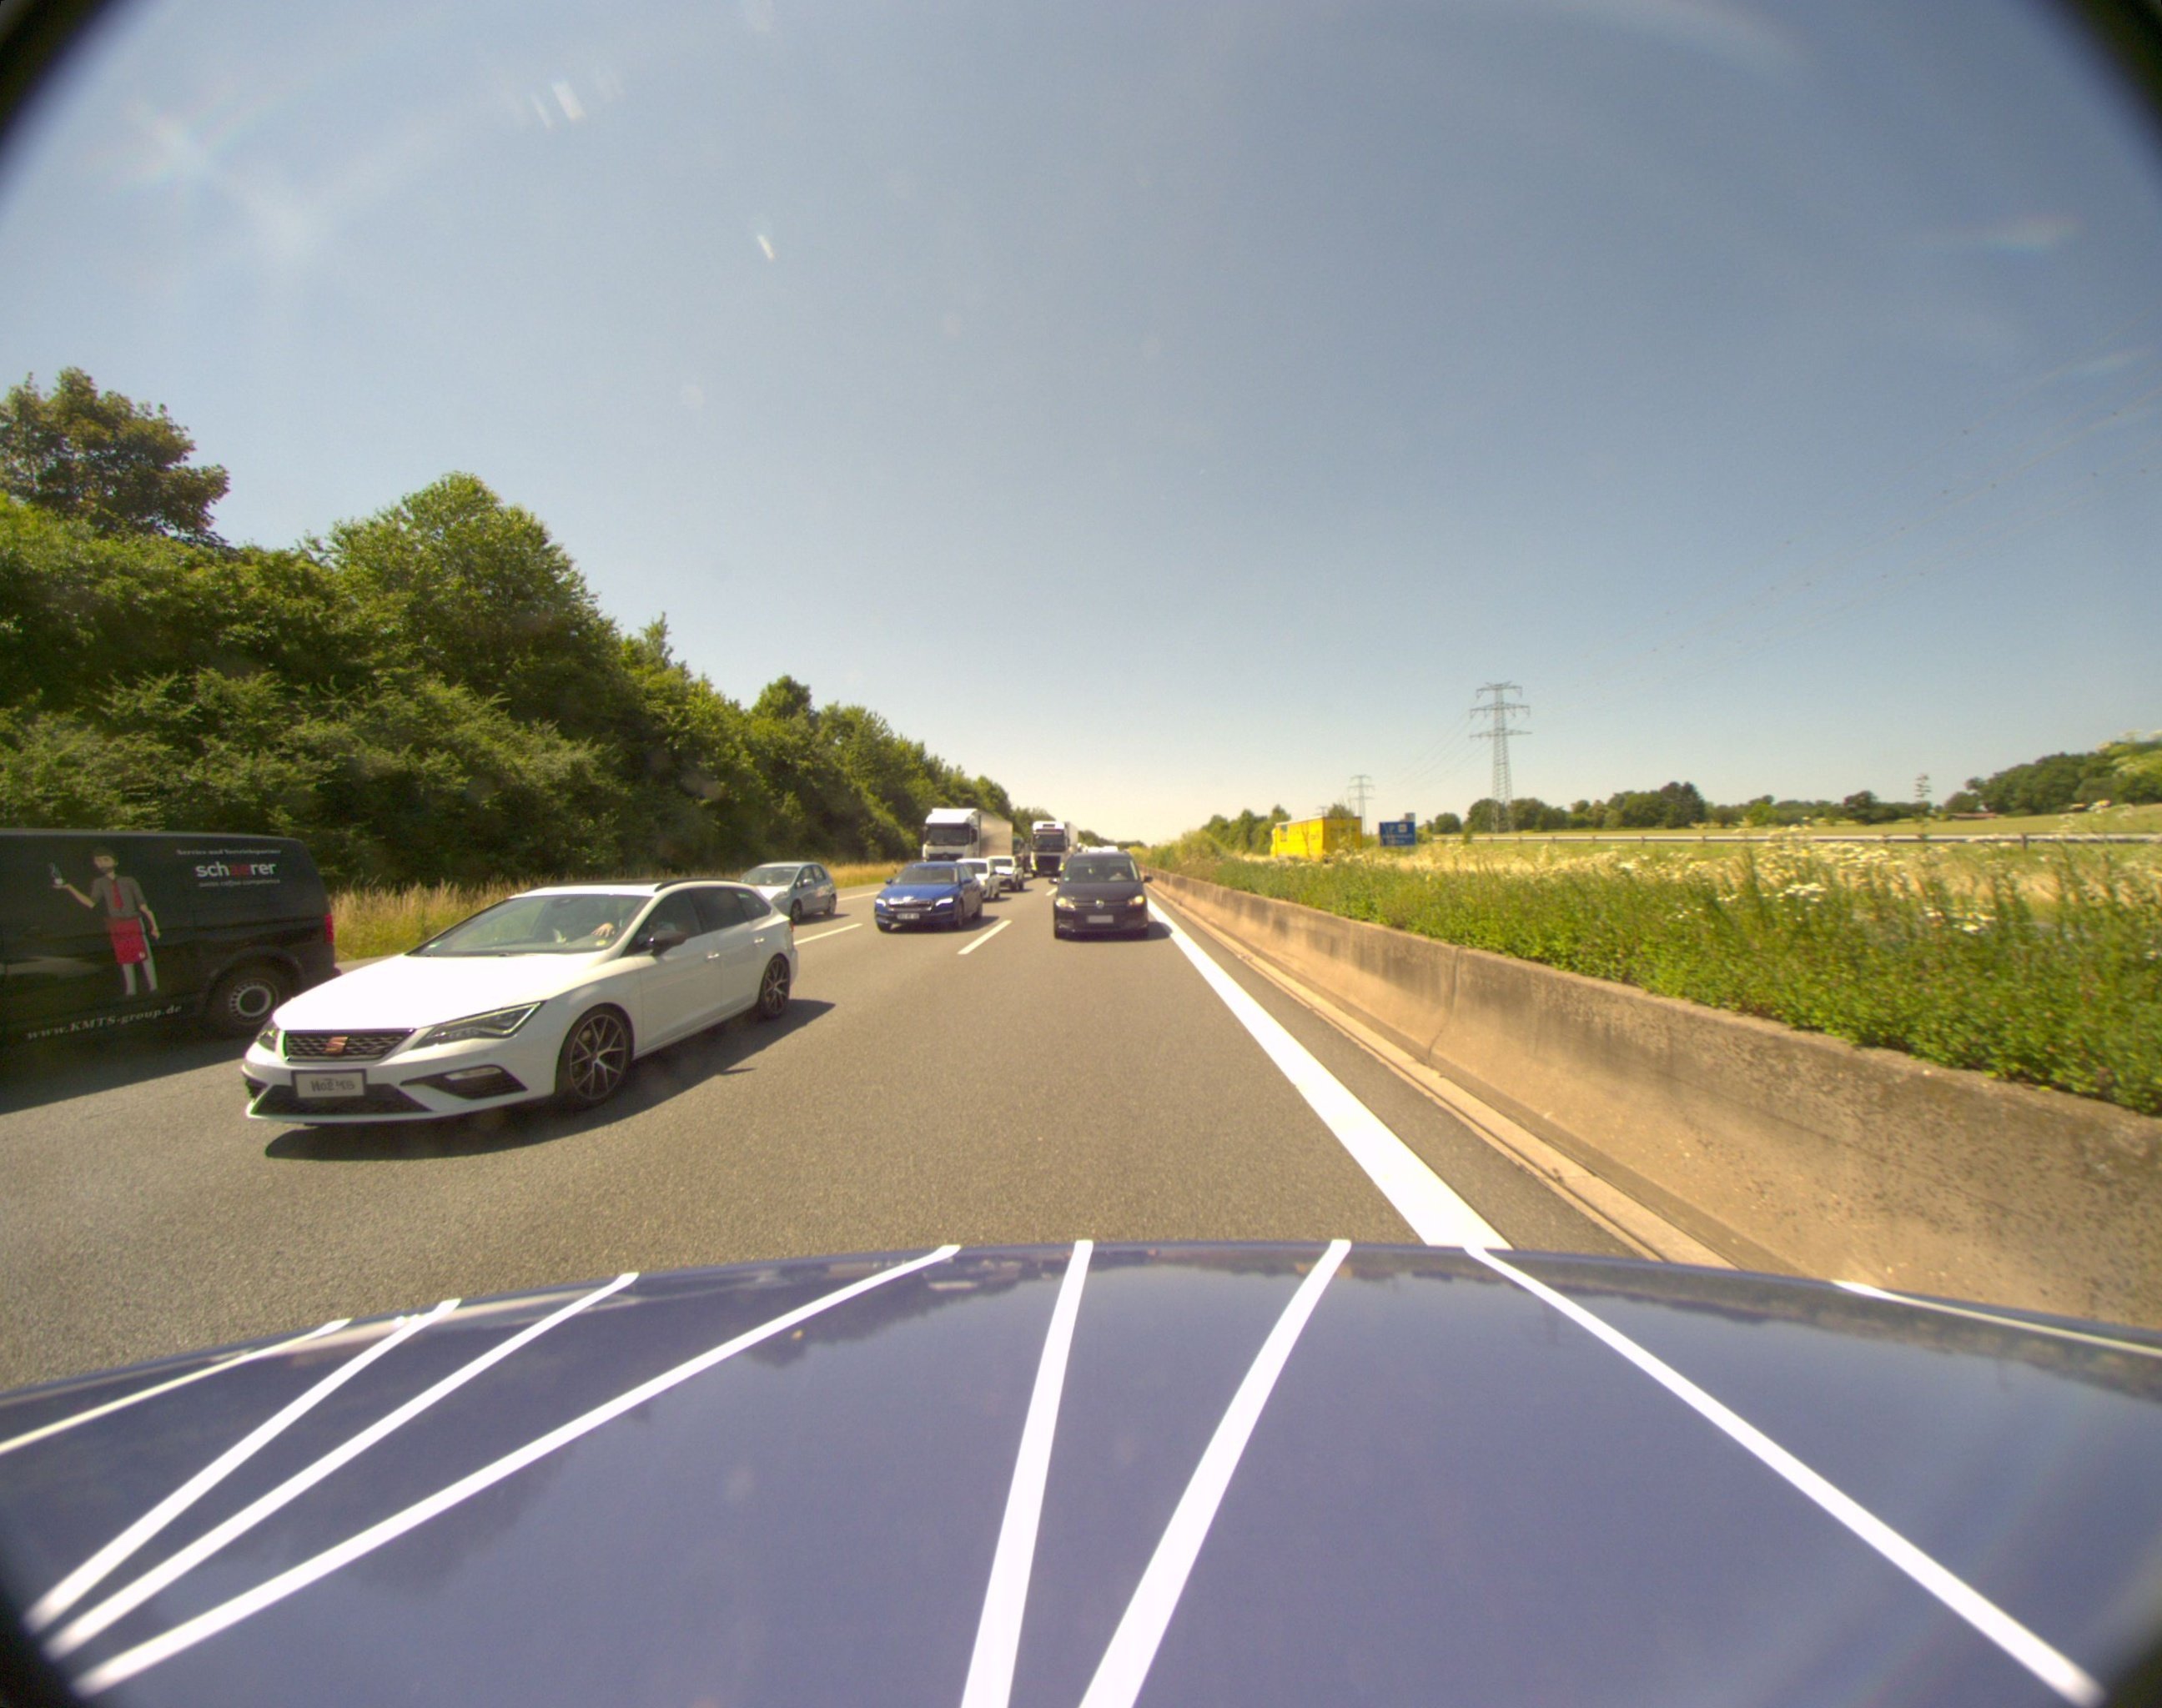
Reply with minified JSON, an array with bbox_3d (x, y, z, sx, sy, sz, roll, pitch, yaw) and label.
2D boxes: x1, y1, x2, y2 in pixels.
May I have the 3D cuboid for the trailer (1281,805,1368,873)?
[{"bbox_3d":[16.898,-1.035,53.660,2.828,4.182,10.685,-3,1,2],"label":"trailer"}]

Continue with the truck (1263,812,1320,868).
[{"bbox_3d":[17.202,-1.181,62.561,2.785,4.212,7.324,-3,1,2],"label":"truck"}]

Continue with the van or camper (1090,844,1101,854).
[{"bbox_3d":[3.250,-1.018,164.520,2.189,2.018,4.364,-2,1,3],"label":"van or camper"}]

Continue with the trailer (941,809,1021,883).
[{"bbox_3d":[-6.158,-0.490,49.284,2.879,4.132,12.076,-2,1,3],"label":"trailer"}]

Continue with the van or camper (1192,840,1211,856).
[{"bbox_3d":[21.392,-1.074,134.784,2.558,2.822,7.068,-1,0,3],"label":"van or camper"}]

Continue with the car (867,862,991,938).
[{"bbox_3d":[-3.327,0.958,17.592,1.780,1.408,4.572,0,1,2],"label":"car"}]

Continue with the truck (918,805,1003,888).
[{"bbox_3d":[-6.500,-0.420,42.447,2.879,4.132,8.476,-2,1,3],"label":"truck"}]

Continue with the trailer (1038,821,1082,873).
[{"bbox_3d":[-1.618,-0.611,63.300,2.776,3.951,9.157,-2,1,3],"label":"trailer"}]

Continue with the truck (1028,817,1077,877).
[{"bbox_3d":[-1.999,-0.526,56.167,2.750,3.972,8.361,-2,1,3],"label":"truck"}]

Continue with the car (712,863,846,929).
[{"bbox_3d":[-7.534,0.984,19.375,1.666,1.453,3.923,0,0,3],"label":"car"}]

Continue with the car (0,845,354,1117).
[{"bbox_3d":[-8.695,0.930,5.546,1.918,1.929,4.856,-1,1,2],"label":"car"}]

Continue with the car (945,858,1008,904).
[{"bbox_3d":[-3.656,0.905,27.053,1.609,1.426,3.809,0,1,2],"label":"car"}]

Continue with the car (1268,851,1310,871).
[{"bbox_3d":[12.887,0.404,47.257,1.679,1.124,3.342,-2,1,1],"label":"car"}]

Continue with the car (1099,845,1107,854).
[{"bbox_3d":[5.930,-1.216,204.827,1.998,2.302,4.229,-2,1,2],"label":"car"}]

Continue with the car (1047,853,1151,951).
[{"bbox_3d":[0.414,0.823,15.691,1.758,1.571,5.291,-1,1,2],"label":"car"}]

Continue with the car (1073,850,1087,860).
[{"bbox_3d":[-0.099,0.147,103.835,1.650,1.336,3.381,-2,1,3],"label":"car"}]

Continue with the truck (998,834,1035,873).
[{"bbox_3d":[-5.523,-0.058,65.637,2.299,3.128,5.675,-2,1,3],"label":"truck"}]

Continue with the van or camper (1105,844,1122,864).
[{"bbox_3d":[4.052,0.020,95.077,1.956,2.368,4.037,-3,1,3],"label":"van or camper"}]

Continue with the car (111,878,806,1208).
[{"bbox_3d":[-3.916,1.030,5.975,1.752,1.435,4.313,-1,1,2],"label":"car"}]

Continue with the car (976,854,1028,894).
[{"bbox_3d":[-3.392,0.830,33.212,1.748,1.549,3.884,0,1,2],"label":"car"}]

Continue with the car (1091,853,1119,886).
[{"bbox_3d":[1.343,0.792,41.406,1.357,1.630,2.994,-3,1,3],"label":"car"}]

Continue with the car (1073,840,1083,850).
[{"bbox_3d":[-0.575,-1.848,158.374,1.998,2.002,4.000,-2,1,2],"label":"car"}]

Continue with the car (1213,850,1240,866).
[{"bbox_3d":[14.042,0.364,73.612,1.874,1.457,4.099,-2,0,2],"label":"car"}]
